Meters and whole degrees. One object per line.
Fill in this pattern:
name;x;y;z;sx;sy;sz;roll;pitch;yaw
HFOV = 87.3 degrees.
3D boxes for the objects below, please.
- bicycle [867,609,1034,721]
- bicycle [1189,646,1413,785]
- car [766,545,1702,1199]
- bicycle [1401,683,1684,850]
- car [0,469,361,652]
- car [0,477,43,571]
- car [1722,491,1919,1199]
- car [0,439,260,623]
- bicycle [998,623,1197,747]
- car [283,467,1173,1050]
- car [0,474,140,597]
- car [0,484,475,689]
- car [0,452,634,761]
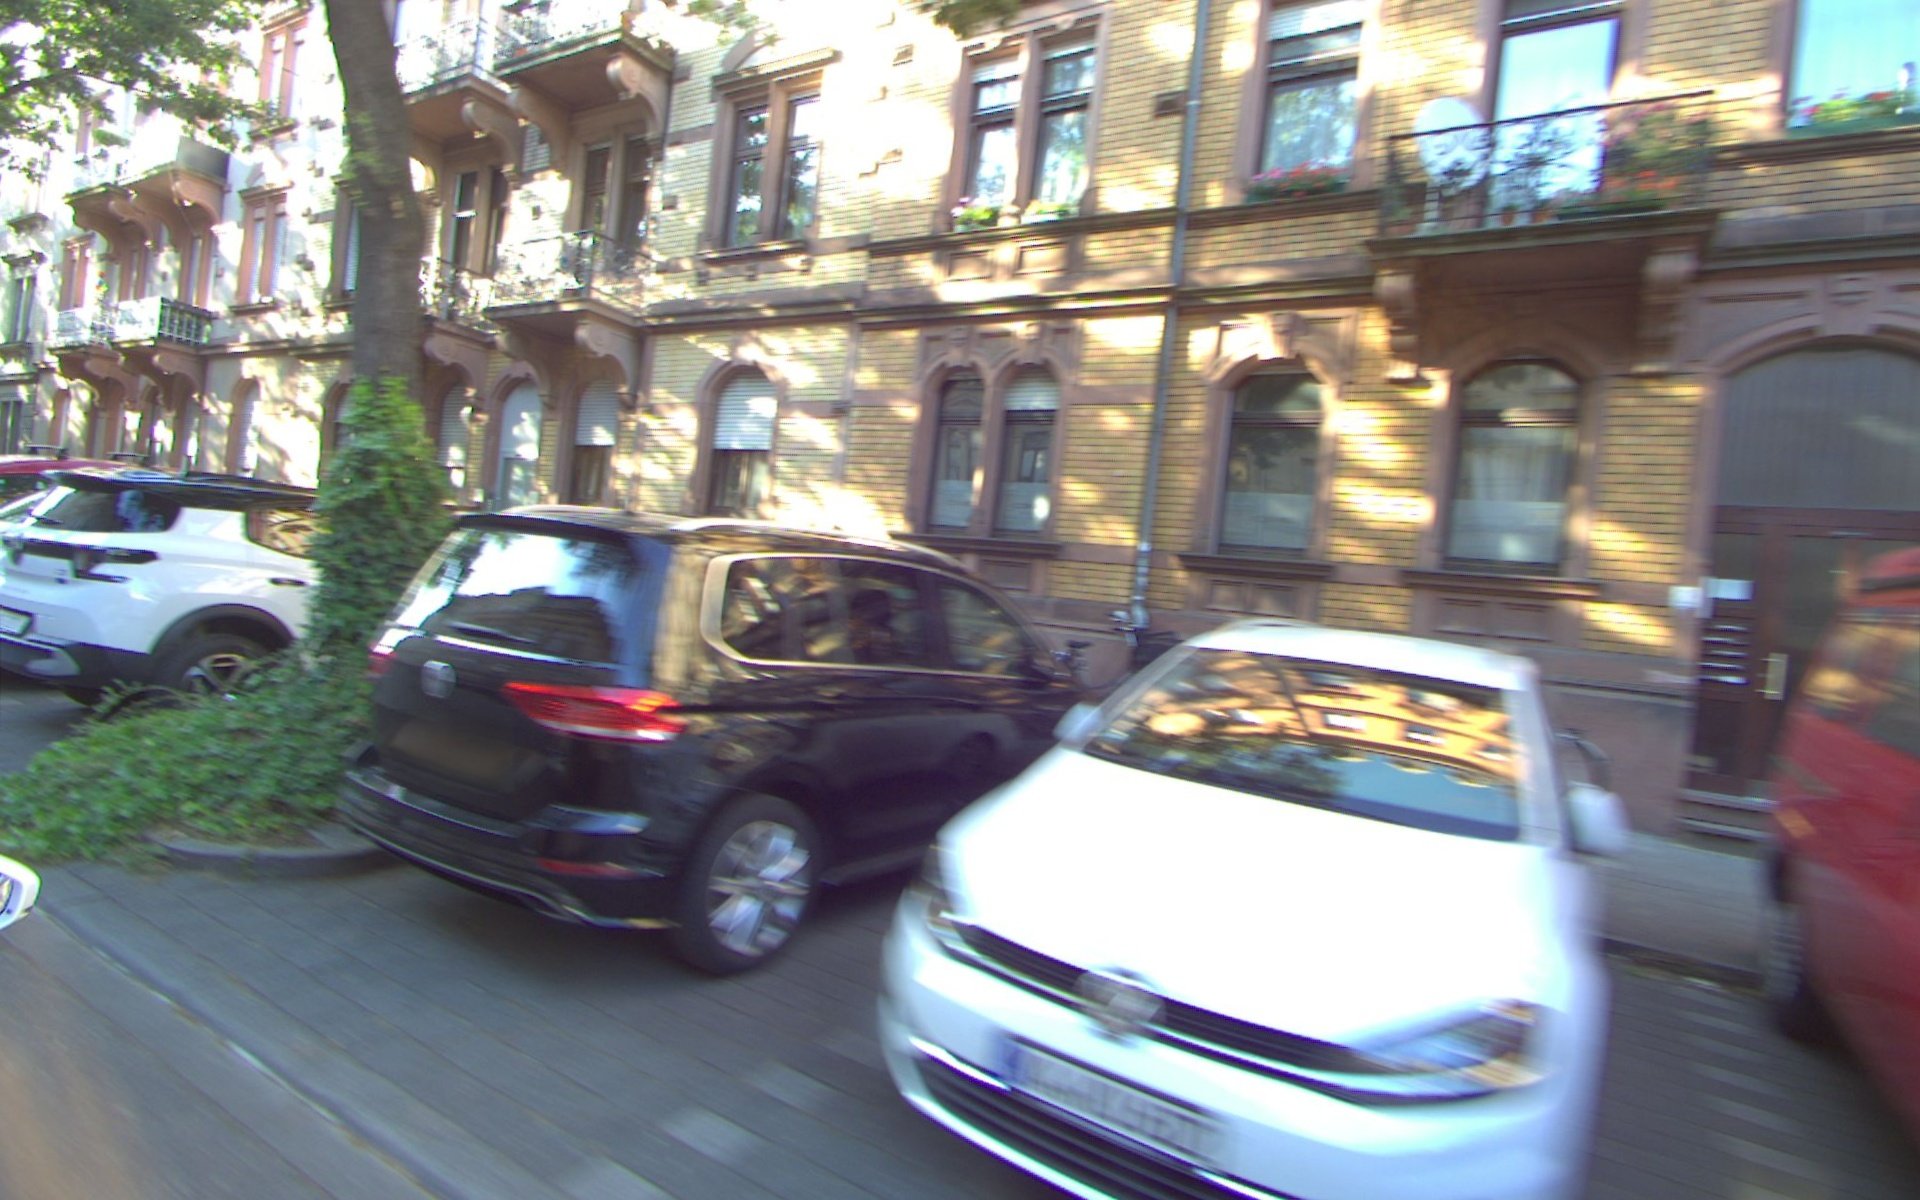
bicycle;-0.134;0.684;11.016;1.837;0.976;0.404;7;3;32
bicycle;3.120;1.029;9.317;1.837;0.976;0.404;7;3;32
car;1.593;0.817;4.071;1.848;1.534;4.676;6;1;33
bicycle;4.625;1.288;8.103;1.837;0.976;0.404;7;3;32
car;-8.766;-0.409;10.073;1.819;1.577;4.346;8;3;31
car;-16.954;-1.383;15.355;1.705;1.486;4.013;6;1;31
car;3.417;0.793;2.394;1.847;2.059;4.678;6;1;31
car;-10.897;-0.841;11.392;1.818;1.950;4.447;8;3;29
bicycle;1.348;0.814;9.925;1.832;0.976;0.405;6;3;14
car;-0.654;0.496;5.105;1.808;1.648;4.186;6;1;34
car;-12.970;-0.921;12.633;1.817;1.474;3.663;8;2;25
car;-6.723;-0.119;8.901;1.764;1.453;4.012;6;2;31
car;-4.691;0.048;7.571;1.774;1.648;4.014;6;1;30
